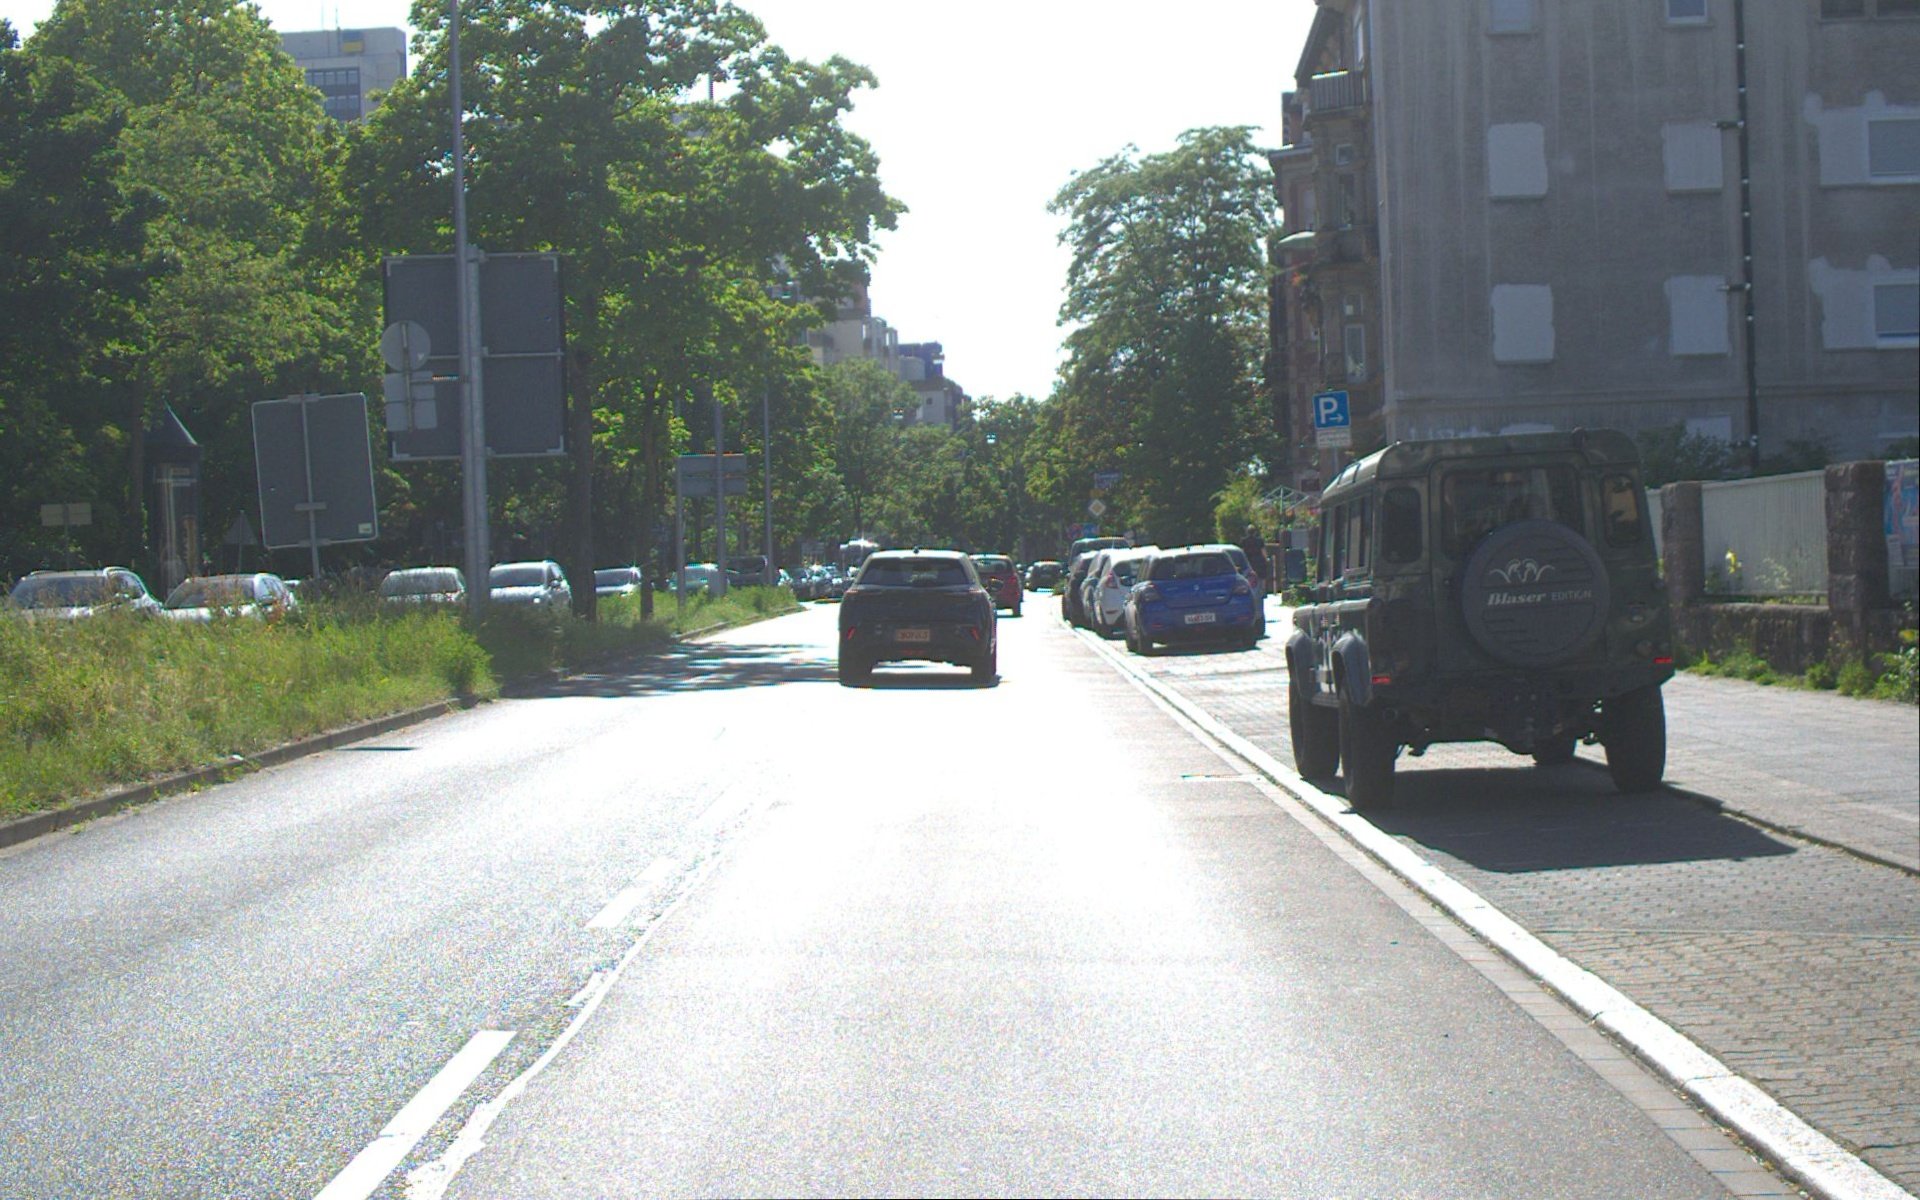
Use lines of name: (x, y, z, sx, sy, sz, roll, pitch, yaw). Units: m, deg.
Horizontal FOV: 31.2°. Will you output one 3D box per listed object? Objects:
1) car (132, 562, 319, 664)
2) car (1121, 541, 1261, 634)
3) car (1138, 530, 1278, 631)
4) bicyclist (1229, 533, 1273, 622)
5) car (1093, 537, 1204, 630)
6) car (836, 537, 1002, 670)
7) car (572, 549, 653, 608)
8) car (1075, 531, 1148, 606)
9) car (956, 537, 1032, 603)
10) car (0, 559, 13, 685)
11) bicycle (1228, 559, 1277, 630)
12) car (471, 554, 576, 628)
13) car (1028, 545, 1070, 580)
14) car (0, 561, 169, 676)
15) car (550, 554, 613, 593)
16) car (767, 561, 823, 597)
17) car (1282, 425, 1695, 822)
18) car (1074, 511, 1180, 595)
car: (-11.760, 0.180, 55.358, 1.839, 1.514, 4.666, -2, 1, 2)
car: (3.397, -0.207, 51.186, 1.668, 1.178, 3.901, -5, 1, -1)
car: (3.989, -0.340, 55.869, 1.668, 1.455, 3.986, -5, 1, -3)
bicyclist: (5.321, -0.416, 62.842, 0.741, 1.574, 1.100, -1, 2, 3)
car: (3.290, -0.313, 60.526, 1.608, 1.441, 3.659, -5, 1, 0)
car: (-0.536, 0.015, 41.186, 1.894, 1.514, 4.000, 0, 1, -2)
car: (-9.618, -0.576, 95.449, 1.795, 1.514, 4.087, -3, 0, 0)
car: (4.007, -0.848, 90.483, 1.819, 1.837, 4.364, -2, 1, 3)
car: (0.823, -0.745, 83.375, 1.792, 1.515, 3.849, -1, 1, 0)
car: (-12.468, 0.308, 39.855, 1.795, 1.514, 4.258, -1, 1, 0)
bicycle: (5.345, -0.110, 62.979, 0.741, 1.215, 1.960, -4, 1, 3)
car: (-10.408, -0.233, 82.259, 1.900, 1.620, 4.537, -3, 1, 0)
car: (4.345, -1.846, 167.809, 1.920, 1.634, 4.000, -2, 1, 1)
car: (-12.358, 0.275, 47.542, 1.795, 1.514, 4.258, -1, -1, 1)
car: (-17.339, -1.206, 157.171, 1.974, 1.656, 4.001, -2, 1, -19)
car: (-7.414, -0.967, 155.102, 1.759, 1.514, 3.858, -2, 1, 8)
car: (3.005, 0.106, 20.487, 1.660, 2.007, 4.776, -3, 0, 0)
car: (3.197, -0.924, 66.375, 1.668, 1.514, 3.662, -2, 1, -2)
